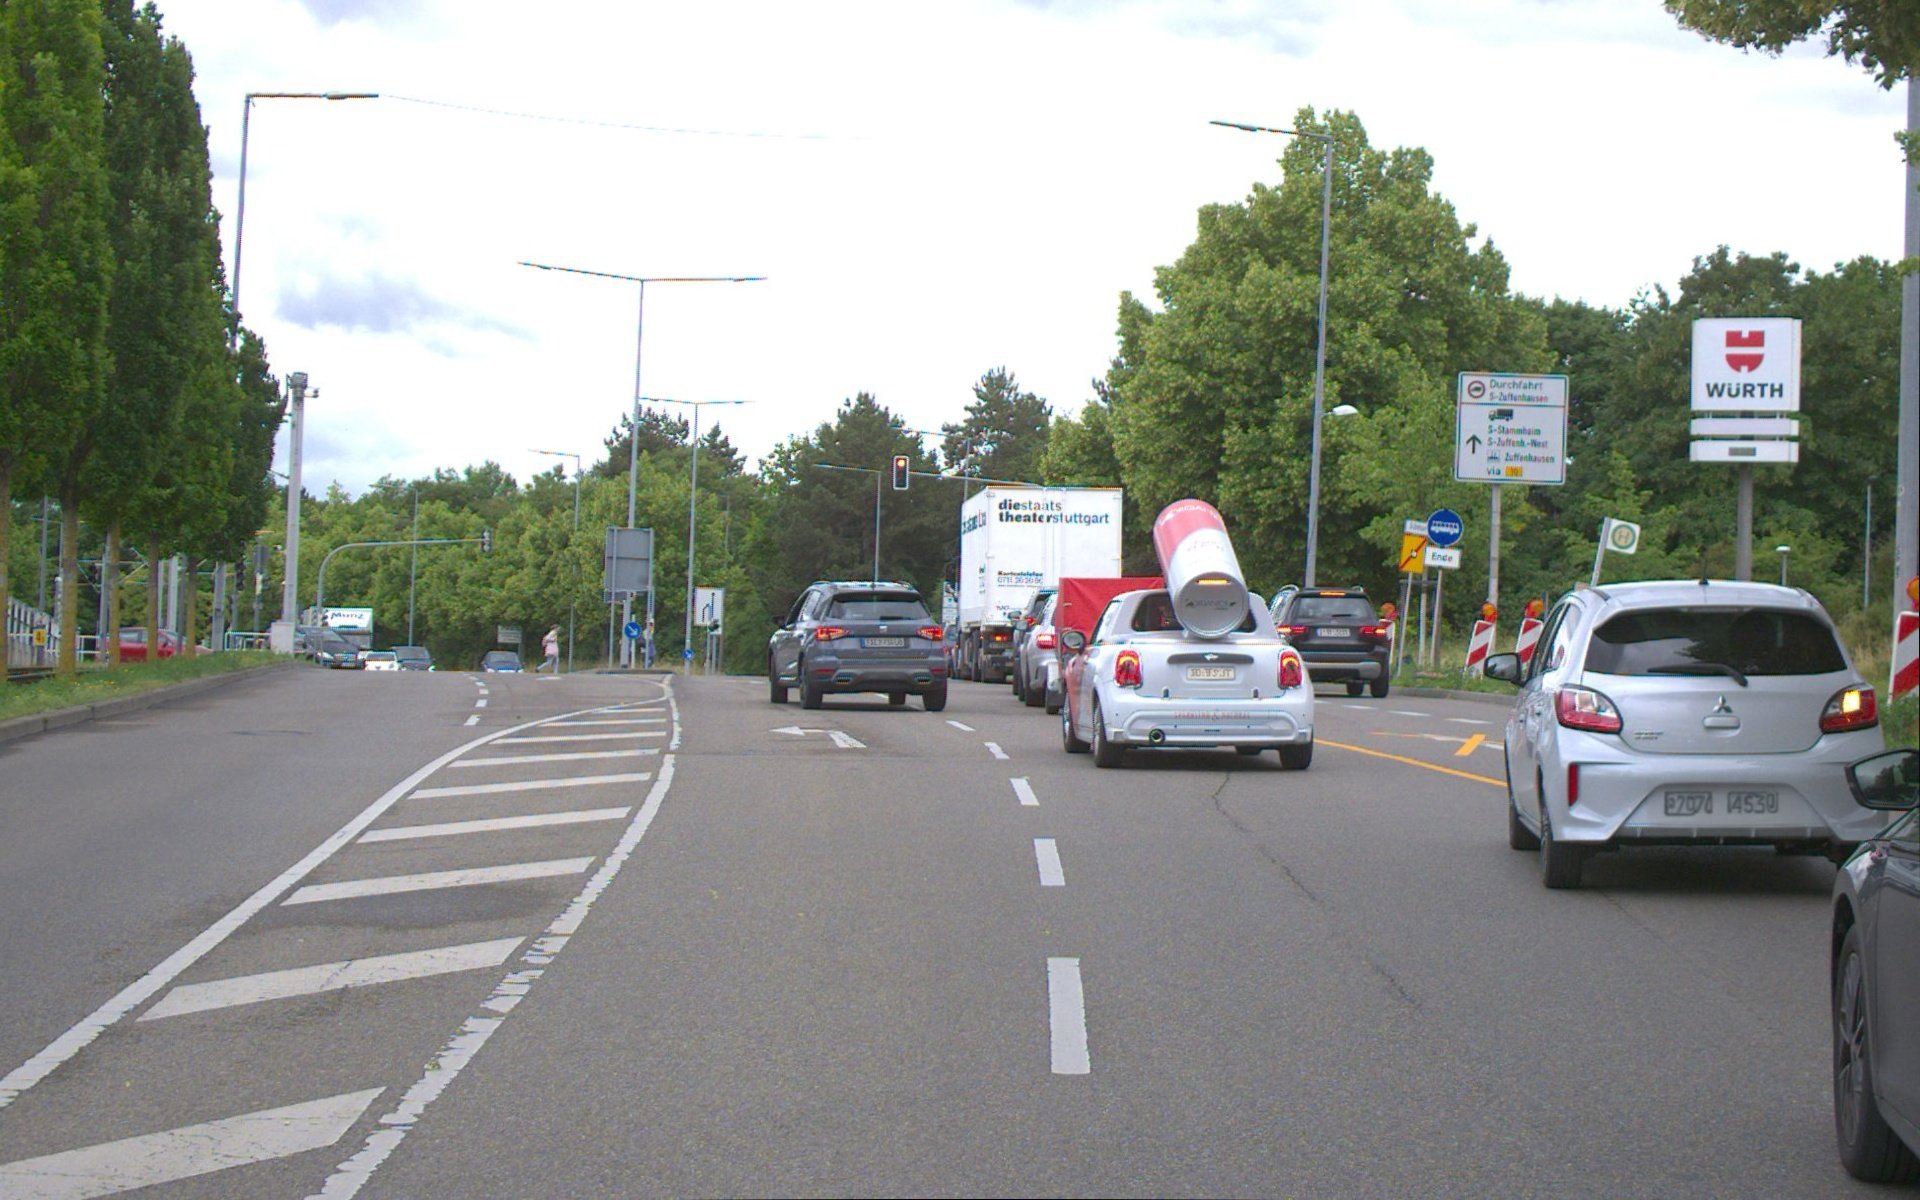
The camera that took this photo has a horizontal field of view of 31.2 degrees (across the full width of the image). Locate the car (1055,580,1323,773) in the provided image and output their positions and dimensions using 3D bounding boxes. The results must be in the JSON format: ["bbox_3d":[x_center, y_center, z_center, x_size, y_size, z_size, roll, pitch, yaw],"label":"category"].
[{"bbox_3d":[1.817,0.607,28.267,1.718,1.452,3.697,1,-1,-3],"label":"car"}]

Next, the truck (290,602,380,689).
[{"bbox_3d":[-29.237,2.053,160.565,2.659,3.636,9.505,3,0,-19],"label":"truck"}]

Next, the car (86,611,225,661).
[{"bbox_3d":[-26.024,1.156,111.163,4.077,1.483,1.706,1,-2,21],"label":"car"}]

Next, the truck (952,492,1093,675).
[{"bbox_3d":[1.267,-0.345,71.993,2.570,3.693,4.106,1,0,-3],"label":"truck"}]

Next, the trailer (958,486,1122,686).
[{"bbox_3d":[1.495,-0.315,68.149,2.565,3.693,7.765,1,1,-3],"label":"trailer"}]

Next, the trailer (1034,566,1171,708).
[{"bbox_3d":[1.645,0.427,40.538,1.409,1.588,3.303,1,0,-1],"label":"trailer"}]

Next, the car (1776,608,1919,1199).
[{"bbox_3d":[2.856,0.749,6.739,1.836,1.428,4.277,1,0,5],"label":"car"}]

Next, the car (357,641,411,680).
[{"bbox_3d":[-25.459,2.665,152.117,1.775,1.503,3.747,-2,1,-1],"label":"car"}]

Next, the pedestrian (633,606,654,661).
[{"bbox_3d":[-9.417,0.986,102.345,0.586,1.616,0.423,1,1,-6],"label":"pedestrian"}]

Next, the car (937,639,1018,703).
[{"bbox_3d":[0.394,1.665,81.462,1.812,1.349,4.118,0,1,-1],"label":"car"}]

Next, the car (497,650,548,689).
[{"bbox_3d":[-19.505,3.087,153.301,1.915,1.571,4.000,-1,1,-3],"label":"car"}]

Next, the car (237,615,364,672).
[{"bbox_3d":[-20.319,1.358,106.005,3.694,1.568,1.731,3,-2,-8],"label":"car"}]

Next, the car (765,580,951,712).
[{"bbox_3d":[-1.292,0.526,41.868,1.698,1.481,4.001,0,1,-10],"label":"car"}]

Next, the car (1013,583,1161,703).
[{"bbox_3d":[1.589,0.551,44.436,1.671,1.443,4.489,1,-1,-1],"label":"car"}]

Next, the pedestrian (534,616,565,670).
[{"bbox_3d":[-11.966,1.258,100.214,0.863,1.555,0.518,1,1,-6],"label":"pedestrian"}]

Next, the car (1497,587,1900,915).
[{"bbox_3d":[3.645,0.681,17.497,1.623,1.452,3.688,1,0,6],"label":"car"}]
